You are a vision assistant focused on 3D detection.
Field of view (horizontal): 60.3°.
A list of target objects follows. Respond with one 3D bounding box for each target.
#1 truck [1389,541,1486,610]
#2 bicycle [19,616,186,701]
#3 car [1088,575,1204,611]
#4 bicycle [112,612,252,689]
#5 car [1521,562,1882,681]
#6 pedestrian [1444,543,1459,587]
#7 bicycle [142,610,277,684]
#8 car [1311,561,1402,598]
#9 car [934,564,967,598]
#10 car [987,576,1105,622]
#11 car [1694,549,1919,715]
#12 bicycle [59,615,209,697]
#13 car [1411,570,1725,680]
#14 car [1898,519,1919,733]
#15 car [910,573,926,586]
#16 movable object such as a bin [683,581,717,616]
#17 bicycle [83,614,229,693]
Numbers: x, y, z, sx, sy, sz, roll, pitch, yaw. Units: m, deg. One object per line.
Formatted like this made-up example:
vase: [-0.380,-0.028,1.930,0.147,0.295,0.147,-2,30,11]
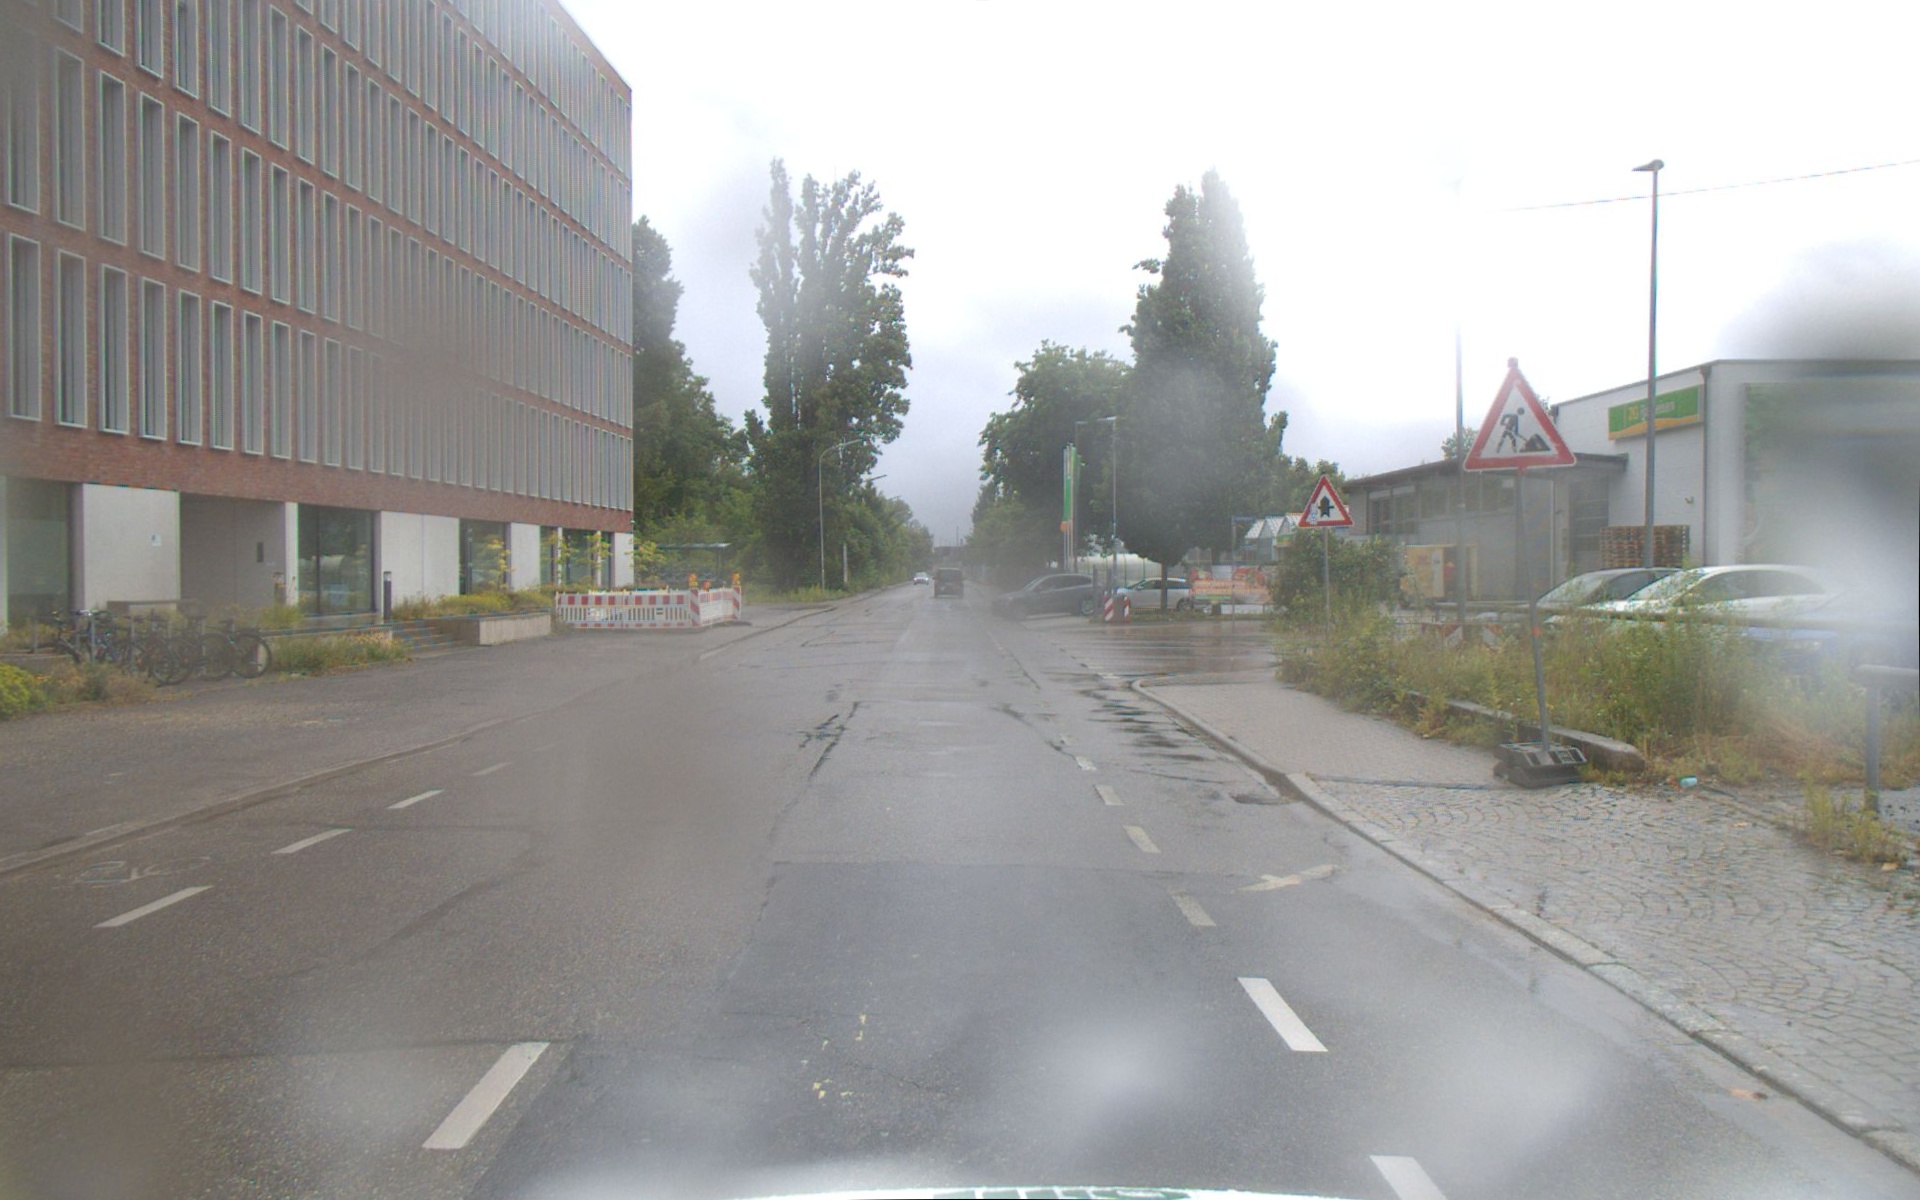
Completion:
truck: [20.196,-1.033,70.273,2.253,2.705,7.419,-2,1,3]
bicycle: [-11.653,0.789,22.516,1.909,1.096,0.620,1,0,-2]
car: [7.784,-0.313,69.373,4.608,1.488,1.890,0,1,-2]
bicycle: [-11.692,0.752,24.885,1.821,1.096,0.544,1,0,-2]
car: [10.003,0.295,22.548,4.096,1.536,1.890,0,-1,0]
pedestrian: [19.731,-1.409,66.353,0.445,1.748,0.433,-2,1,3]
bicycle: [-11.663,0.732,25.729,1.821,1.096,0.544,1,0,-2]
car: [20.664,-1.083,86.291,4.272,1.864,2.064,-1,1,1]
car: [-0.616,-1.147,100.924,1.953,1.943,4.200,-1,0,-1]
car: [3.200,-0.047,61.631,4.063,1.596,1.760,-1,0,-12]
car: [9.762,0.315,16.355,4.207,1.543,1.819,0,-1,0]
bicycle: [-11.676,0.783,23.404,1.821,1.096,0.544,1,0,-2]
car: [9.351,0.368,25.596,4.139,1.424,1.887,-3,0,-9]
car: [10.145,0.155,12.740,4.582,1.765,2.129,-1,-1,4]
car: [-5.124,-2.459,201.660,1.698,1.475,4.381,-3,1,0]
movable object such as a bin: [-10.218,-0.065,65.082,1.271,1.331,1.447,0,1,-7]
bicycle: [-11.683,0.772,24.055,1.821,1.096,0.544,1,0,-2]
